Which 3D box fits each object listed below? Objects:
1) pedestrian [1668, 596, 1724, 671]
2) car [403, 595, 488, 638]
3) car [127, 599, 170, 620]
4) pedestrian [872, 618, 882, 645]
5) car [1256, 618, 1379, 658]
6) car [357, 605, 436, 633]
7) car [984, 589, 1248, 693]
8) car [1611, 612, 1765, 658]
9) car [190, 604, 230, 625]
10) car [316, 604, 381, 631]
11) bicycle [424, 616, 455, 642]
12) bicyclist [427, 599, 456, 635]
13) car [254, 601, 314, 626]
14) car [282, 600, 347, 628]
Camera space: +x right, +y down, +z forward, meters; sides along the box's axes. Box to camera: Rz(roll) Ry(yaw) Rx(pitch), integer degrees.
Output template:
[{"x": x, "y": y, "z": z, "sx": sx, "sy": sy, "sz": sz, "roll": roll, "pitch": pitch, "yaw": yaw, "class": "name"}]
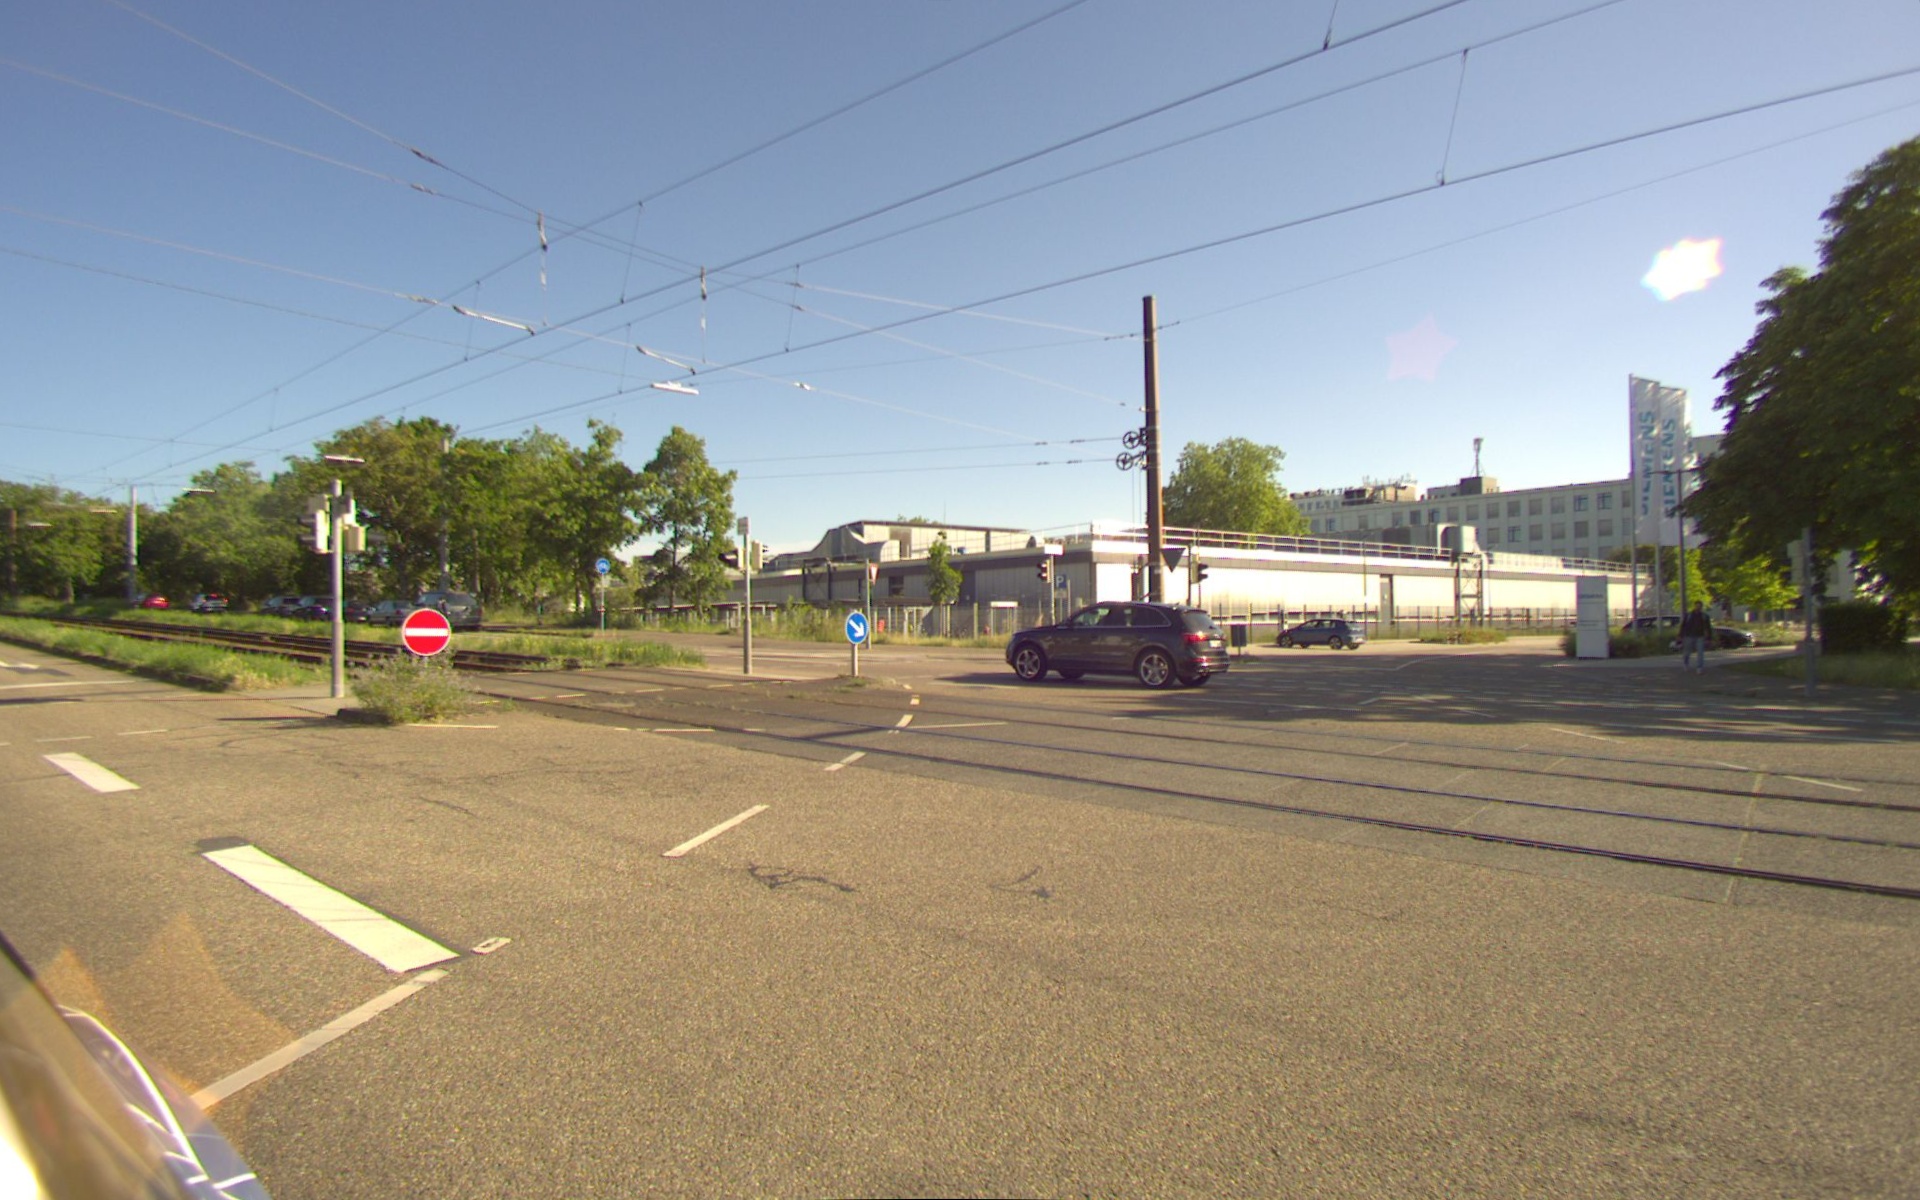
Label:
[{"x": 18.216, "y": 0.817, "z": 25.051, "sx": 0.938, "sy": 1.801, "sz": 0.823, "roll": 0, "pitch": -1, "yaw": -35, "class": "pedestrian"}, {"x": -24.869, "y": 0.768, "z": 48.861, "sx": 4.684, "sy": 1.949, "sz": 2.178, "roll": -1, "pitch": 0, "yaw": 42, "class": "car"}, {"x": -70.045, "y": 0.797, "z": 87.332, "sx": 4.797, "sy": 1.746, "sz": 2.290, "roll": -1, "pitch": 0, "yaw": 43, "class": "car"}, {"x": -4.055, "y": 1.526, "z": 49.353, "sx": 0.435, "sy": 1.310, "sz": 0.441, "roll": 0, "pitch": -1, "yaw": -1, "class": "pedestrian"}, {"x": 17.270, "y": 1.785, "z": 49.159, "sx": 2.138, "sy": 1.762, "sz": 5.304, "roll": -1, "pitch": 0, "yaw": -37, "class": "car"}, {"x": -29.849, "y": 0.986, "z": 53.558, "sx": 4.612, "sy": 1.391, "sz": 2.103, "roll": -1, "pitch": 0, "yaw": 40, "class": "car"}, {"x": 3.011, "y": 0.737, "z": 20.086, "sx": 4.788, "sy": 1.824, "sz": 2.073, "roll": 0, "pitch": -2, "yaw": 39, "class": "car"}, {"x": 29.979, "y": 1.371, "z": 41.800, "sx": 2.019, "sy": 1.741, "sz": 4.847, "roll": -1, "pitch": 0, "yaw": -40, "class": "car"}, {"x": -56.479, "y": 1.069, "z": 76.180, "sx": 4.158, "sy": 1.569, "sz": 1.834, "roll": 0, "pitch": 0, "yaw": 45, "class": "car"}, {"x": -34.826, "y": 0.983, "z": 57.567, "sx": 4.486, "sy": 1.437, "sz": 1.935, "roll": -1, "pitch": 0, "yaw": 42, "class": "car"}, {"x": -23.544, "y": 1.298, "z": 45.771, "sx": 1.781, "sy": 1.110, "sz": 0.689, "roll": 0, "pitch": 0, "yaw": 42, "class": "bicycle"}, {"x": -23.416, "y": 0.751, "z": 45.683, "sx": 1.236, "sy": 1.605, "sz": 0.794, "roll": -1, "pitch": 0, "yaw": 42, "class": "bicyclist"}, {"x": -43.850, "y": 0.857, "z": 65.596, "sx": 4.557, "sy": 1.575, "sz": 2.103, "roll": -1, "pitch": 0, "yaw": 41, "class": "car"}, {"x": -39.020, "y": 0.849, "z": 61.118, "sx": 4.614, "sy": 1.599, "sz": 2.102, "roll": -1, "pitch": 0, "yaw": 41, "class": "car"}]
